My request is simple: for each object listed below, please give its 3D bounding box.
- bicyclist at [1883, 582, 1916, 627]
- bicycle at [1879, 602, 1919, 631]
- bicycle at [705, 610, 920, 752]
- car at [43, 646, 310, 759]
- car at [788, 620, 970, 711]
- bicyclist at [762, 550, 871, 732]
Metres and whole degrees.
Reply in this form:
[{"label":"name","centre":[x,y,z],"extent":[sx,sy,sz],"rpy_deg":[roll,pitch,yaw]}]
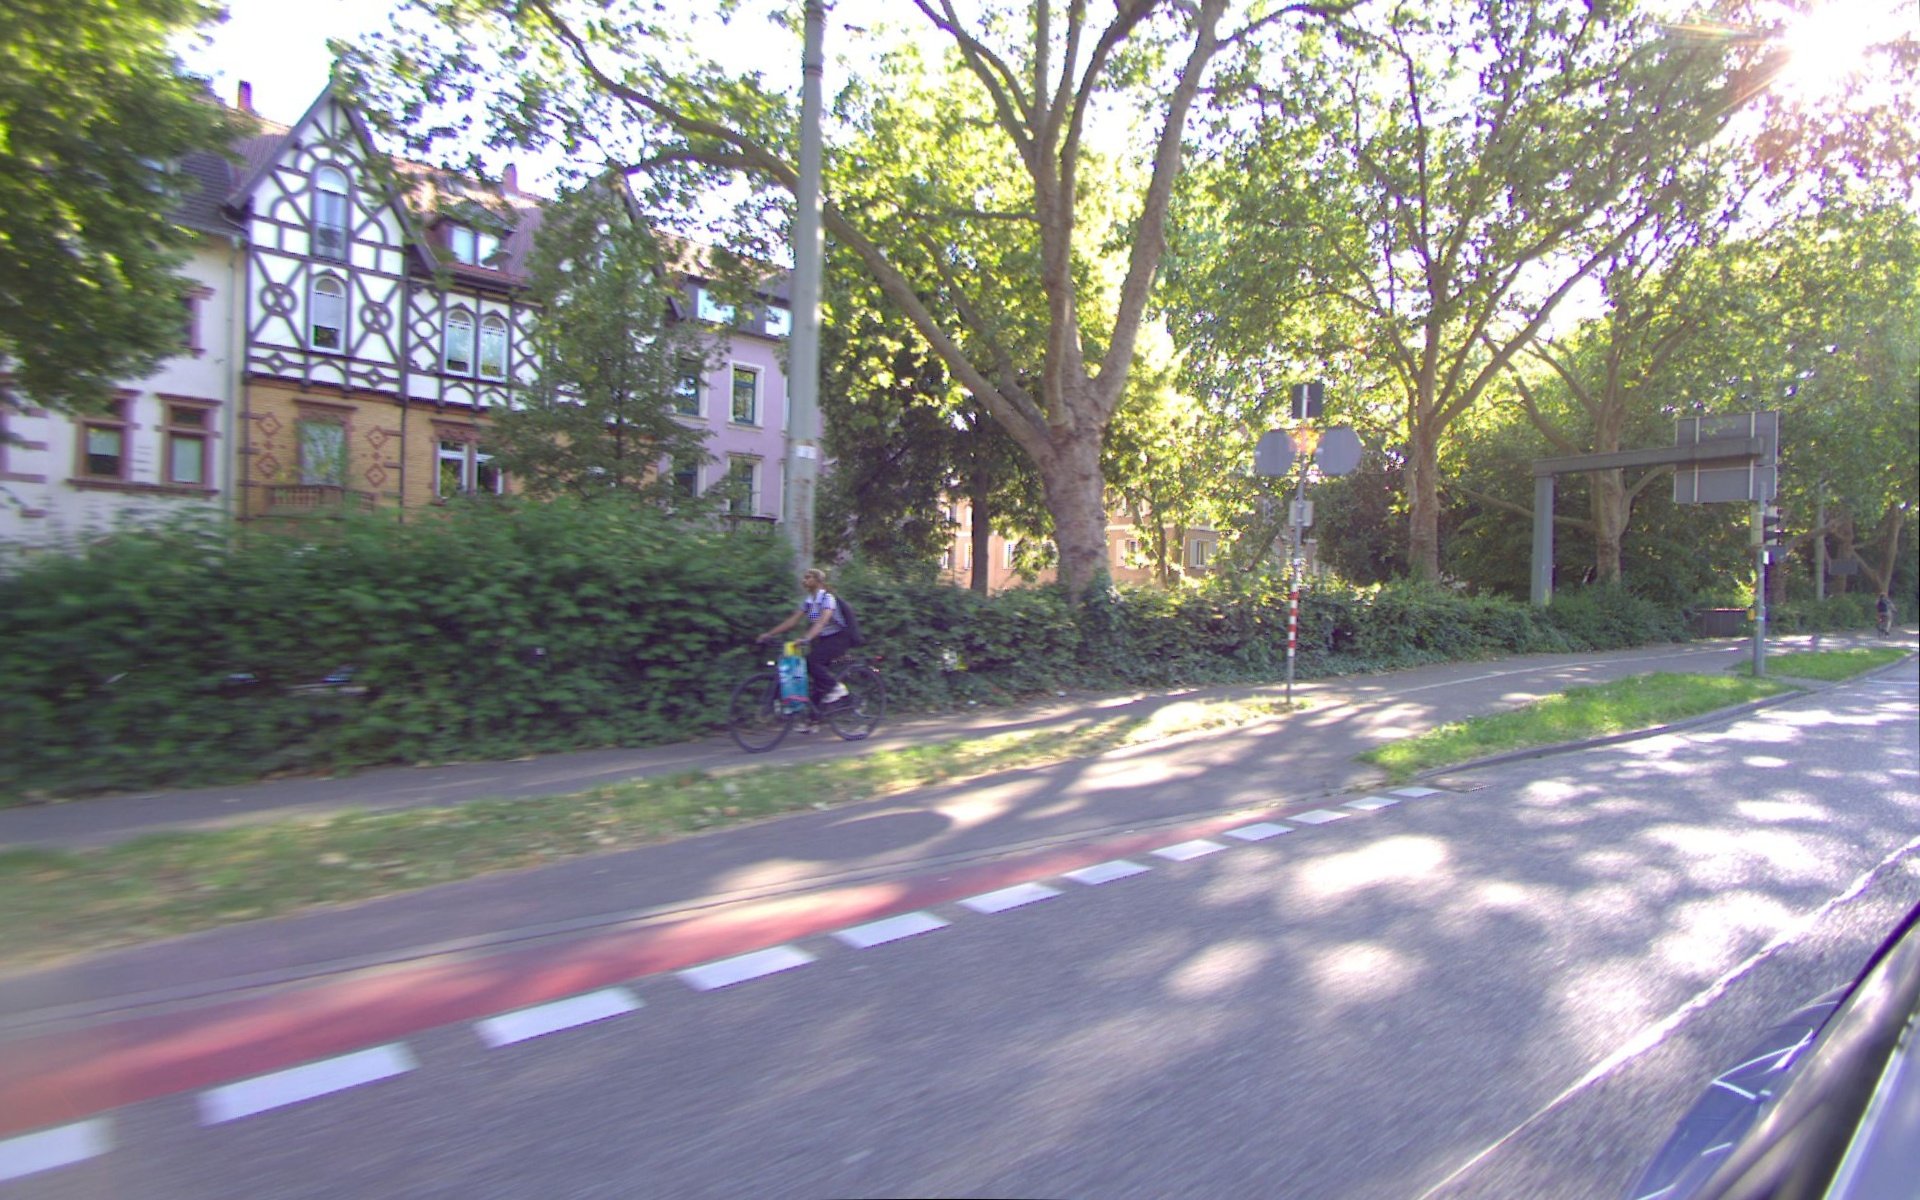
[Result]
[{"label":"bicyclist","centre":[36.676,0.174,39.502],"extent":[1.059,1.750,0.702],"rpy_deg":[1,0,-33]},{"label":"bicycle","centre":[36.604,0.640,39.456],"extent":[1.892,1.121,0.702],"rpy_deg":[1,0,-33]},{"label":"bicycle","centre":[-1.288,0.664,9.044],"extent":[1.769,1.121,0.767],"rpy_deg":[0,0,-41]},{"label":"car","centre":[-13.690,1.717,17.728],"extent":[3.947,1.529,1.790],"rpy_deg":[2,1,18]},{"label":"car","centre":[-2.141,1.660,26.952],"extent":[4.408,2.039,1.984],"rpy_deg":[2,1,20]},{"label":"bicyclist","centre":[-1.287,0.339,9.037],"extent":[0.639,1.532,0.767],"rpy_deg":[0,0,-41]}]
